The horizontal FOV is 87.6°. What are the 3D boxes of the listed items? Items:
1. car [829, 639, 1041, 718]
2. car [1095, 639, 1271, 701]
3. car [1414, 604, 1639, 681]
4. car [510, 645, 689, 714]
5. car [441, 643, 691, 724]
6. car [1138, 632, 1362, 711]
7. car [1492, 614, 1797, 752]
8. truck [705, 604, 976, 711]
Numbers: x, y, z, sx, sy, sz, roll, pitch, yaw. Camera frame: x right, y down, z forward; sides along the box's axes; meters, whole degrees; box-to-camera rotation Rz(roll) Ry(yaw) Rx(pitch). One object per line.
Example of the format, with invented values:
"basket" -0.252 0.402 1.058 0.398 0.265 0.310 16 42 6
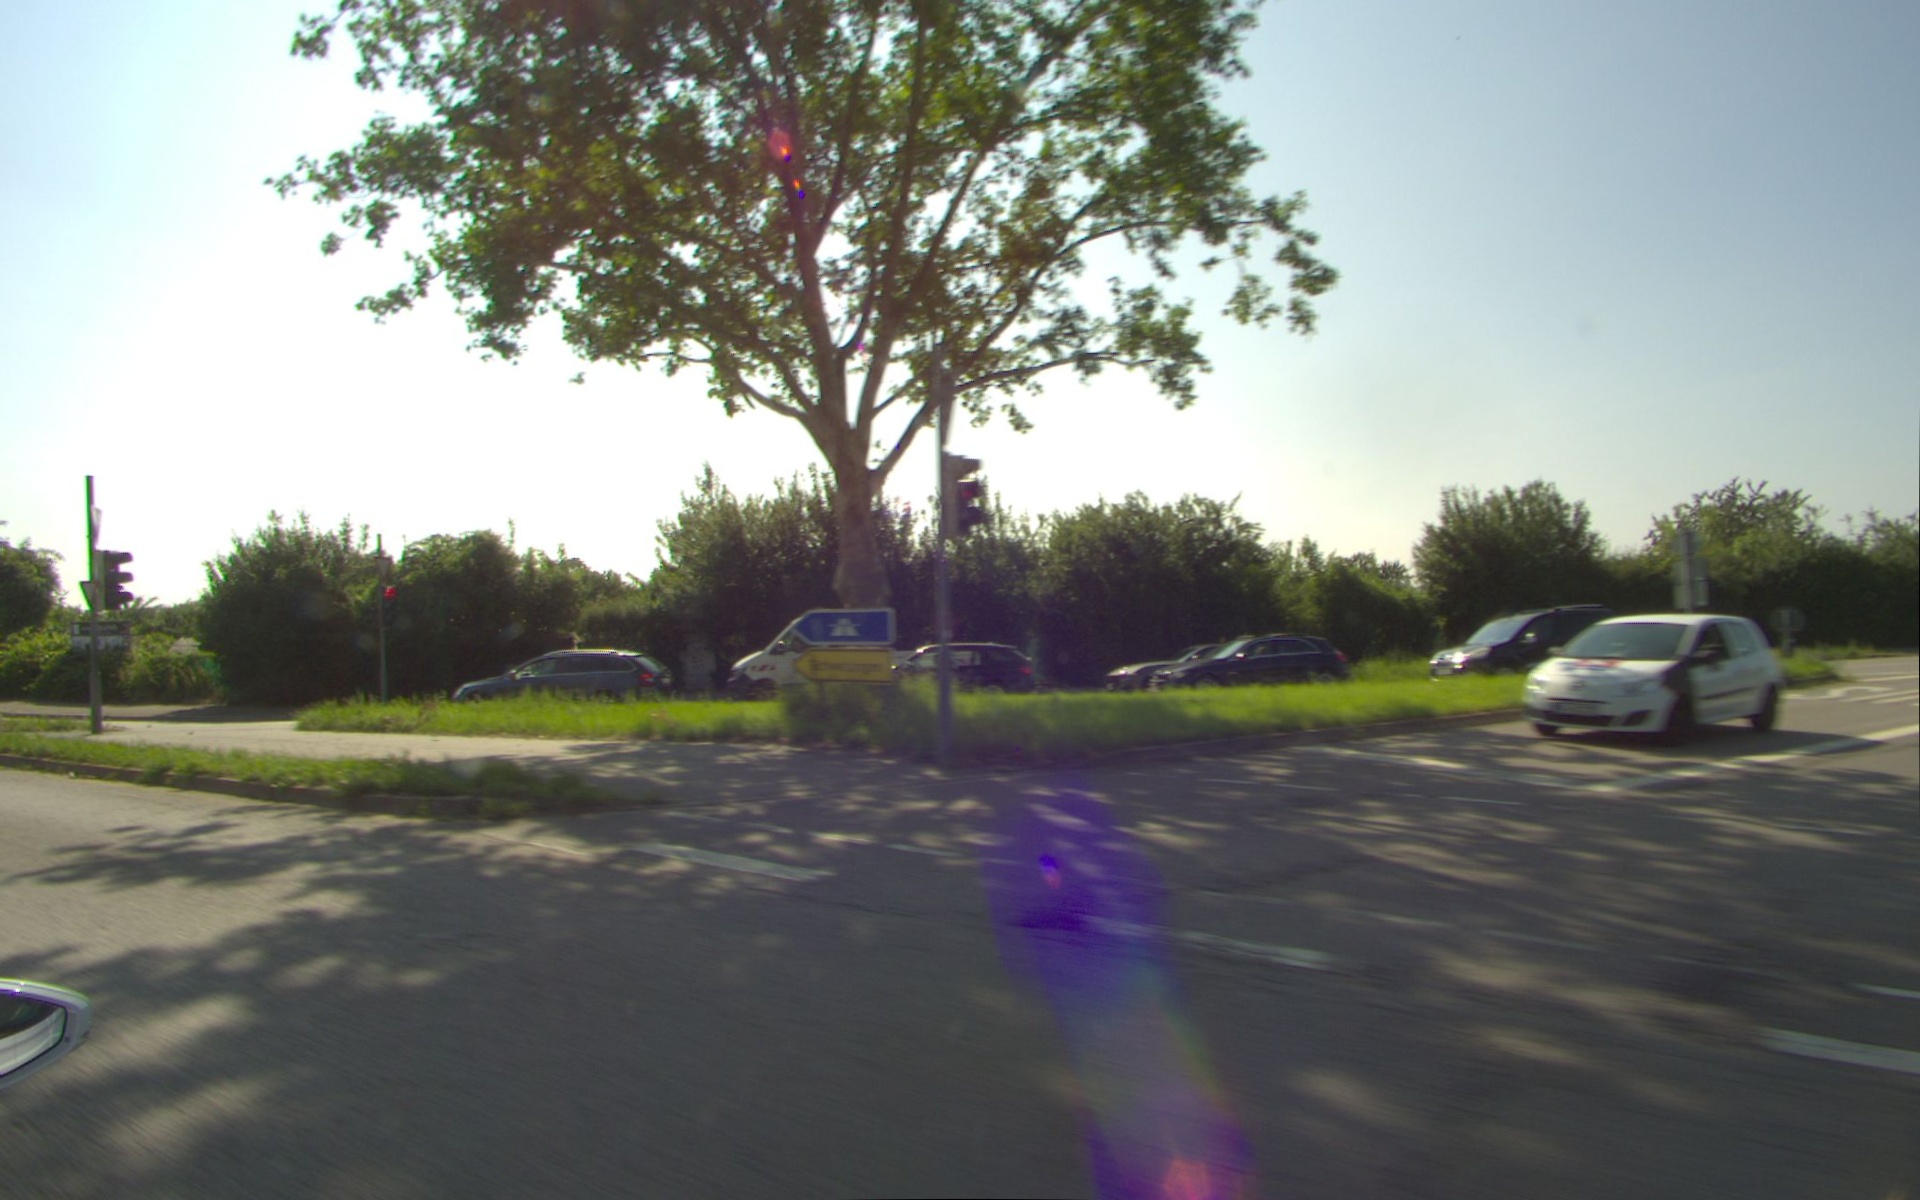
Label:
"car" -0.541 1.678 21.787 4.382 1.547 2.001 -1 -2 -2
"car" 5.572 1.761 25.301 3.923 1.437 1.892 -1 -3 -7
"car" 13.018 0.992 23.087 4.387 1.654 1.886 0 -3 -14
"car" -8.707 1.930 24.358 3.750 1.566 1.623 -1 -3 2
"car" -8.286 1.748 21.356 4.527 1.567 2.001 -1 -2 2
"car" 6.386 1.582 22.311 4.383 1.654 1.888 0 -3 -7
"car" 8.608 0.935 12.547 3.702 1.488 1.776 0 -2 -31
"truck" -2.836 1.427 24.763 6.349 2.415 2.348 -1 -4 -1
